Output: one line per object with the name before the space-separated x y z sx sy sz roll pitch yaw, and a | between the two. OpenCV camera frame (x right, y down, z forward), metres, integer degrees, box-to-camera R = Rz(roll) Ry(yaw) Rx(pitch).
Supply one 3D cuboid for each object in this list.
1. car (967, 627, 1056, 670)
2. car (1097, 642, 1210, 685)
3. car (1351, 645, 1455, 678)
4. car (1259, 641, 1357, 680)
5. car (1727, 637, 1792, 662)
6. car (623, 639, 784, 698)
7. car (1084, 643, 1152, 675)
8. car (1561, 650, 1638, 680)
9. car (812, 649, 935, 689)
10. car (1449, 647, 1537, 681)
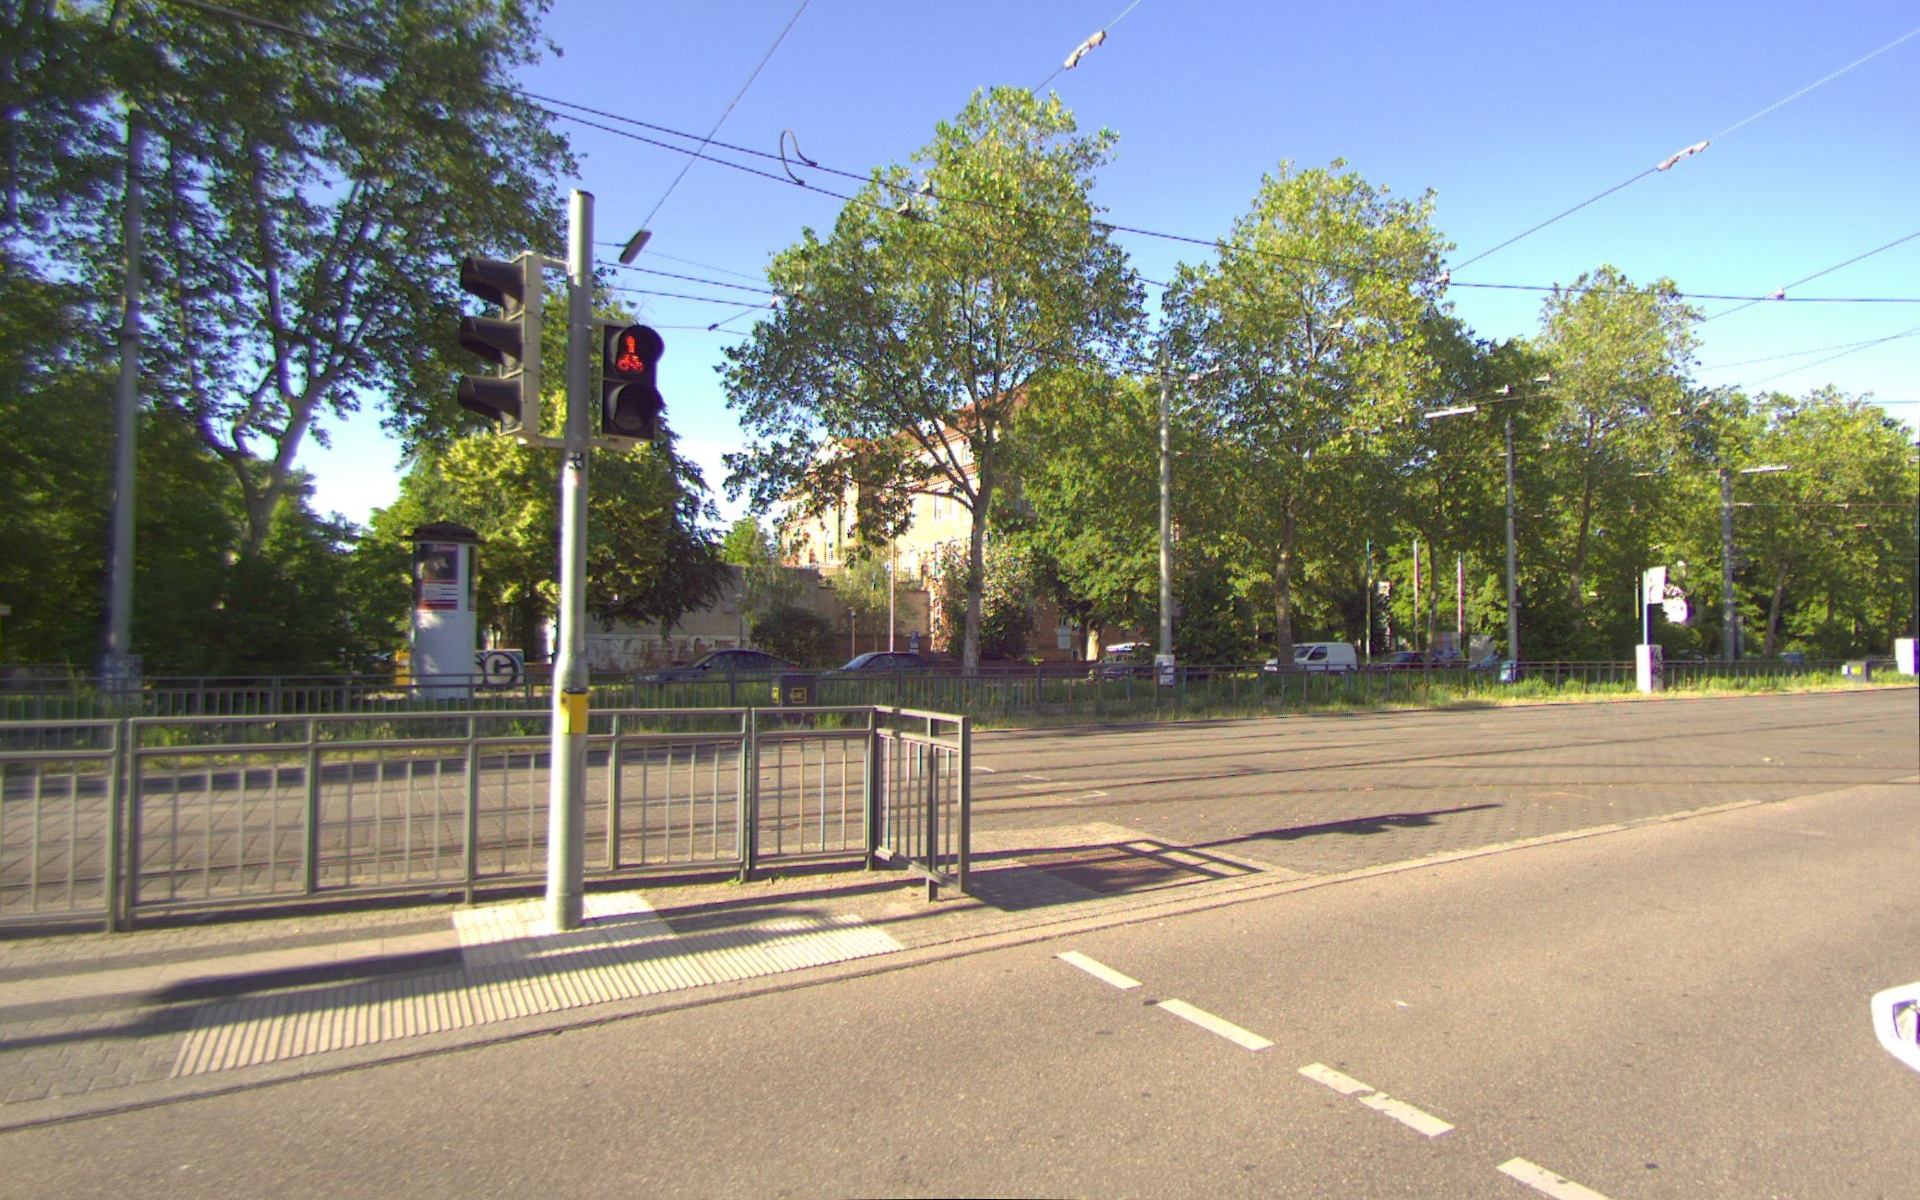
car | 2.529 2.356 49.220 3.953 2.040 1.984 2 -2 -30
car | 7.220 2.321 37.307 4.098 1.529 1.661 2 -2 -32
car | 19.846 2.751 44.935 4.795 1.366 1.926 3 -3 -32
car | 14.518 2.499 41.855 4.098 1.529 1.661 2 -2 -32
car | 53.285 3.325 66.928 4.795 1.529 1.926 3 -3 -32
car | -7.189 1.885 28.291 4.098 1.529 1.661 2 -2 -32
car | 7.925 2.920 50.632 1.375 1.514 3.975 1 -2 -25
car | 35.032 3.574 55.034 4.231 1.529 1.926 3 -3 -31
car | -2.670 2.113 31.152 3.532 1.155 1.498 2 -2 -32
car | 26.012 3.128 48.983 4.231 1.529 1.926 3 -3 -31
